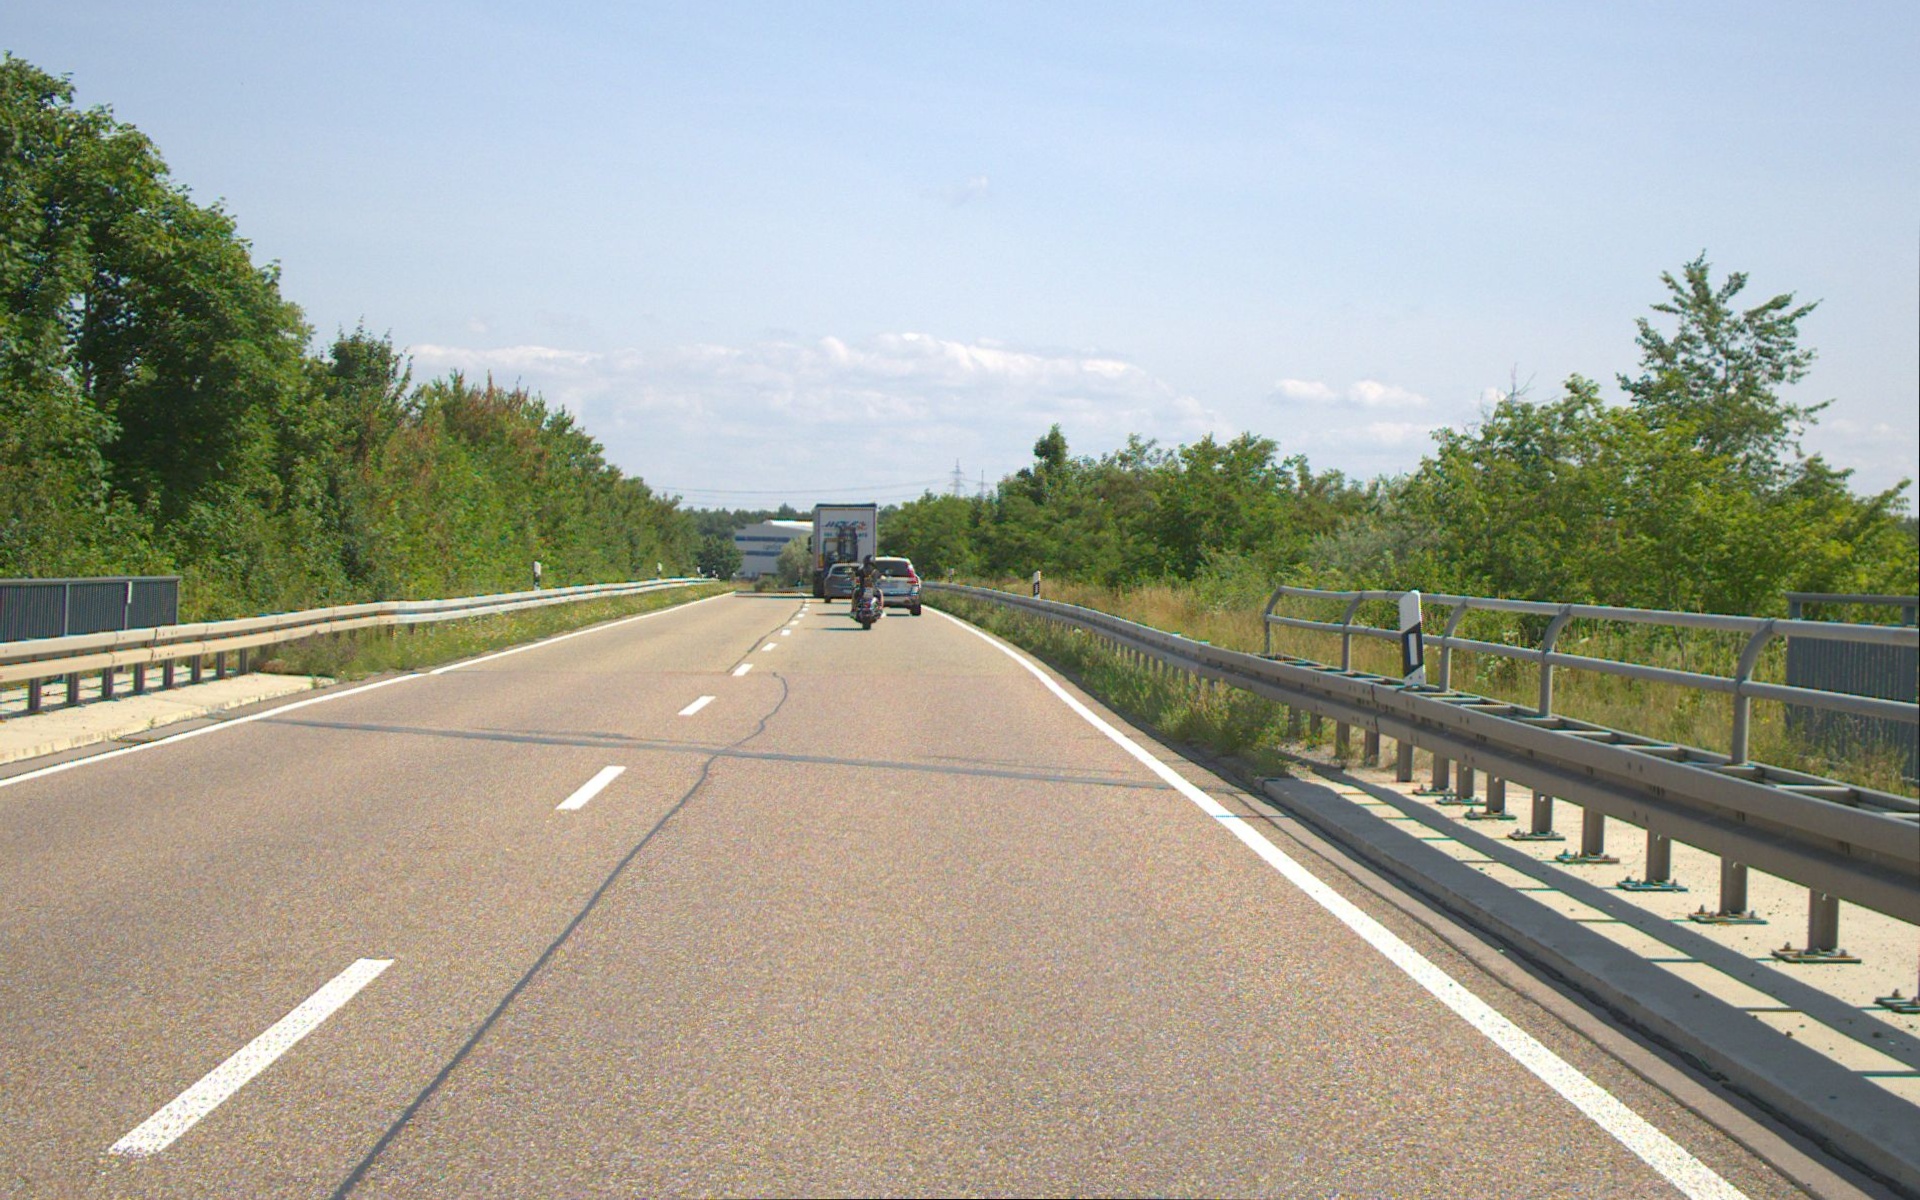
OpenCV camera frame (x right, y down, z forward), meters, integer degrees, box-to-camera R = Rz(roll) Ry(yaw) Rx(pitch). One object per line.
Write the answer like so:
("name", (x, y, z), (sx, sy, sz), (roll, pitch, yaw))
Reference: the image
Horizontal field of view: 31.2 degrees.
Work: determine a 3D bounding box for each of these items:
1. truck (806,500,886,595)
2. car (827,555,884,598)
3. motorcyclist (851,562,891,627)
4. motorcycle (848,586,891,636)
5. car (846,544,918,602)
("truck", (-5.052, -2.313, 150.470), (3.241, 3.965, 9.445), (1, 1, -3))
("car", (-3.743, -0.854, 123.568), (1.866, 1.415, 4.000), (1, 1, 1))
("motorcyclist", (-1.861, -0.120, 71.732), (0.780, 1.321, 0.813), (1, 1, 1))
("motorcycle", (-1.877, 0.217, 71.720), (0.780, 0.972, 2.361), (1, 1, 1))
("car", (-2.109, -0.750, 92.257), (1.825, 1.446, 4.001), (1, 2, -2))
